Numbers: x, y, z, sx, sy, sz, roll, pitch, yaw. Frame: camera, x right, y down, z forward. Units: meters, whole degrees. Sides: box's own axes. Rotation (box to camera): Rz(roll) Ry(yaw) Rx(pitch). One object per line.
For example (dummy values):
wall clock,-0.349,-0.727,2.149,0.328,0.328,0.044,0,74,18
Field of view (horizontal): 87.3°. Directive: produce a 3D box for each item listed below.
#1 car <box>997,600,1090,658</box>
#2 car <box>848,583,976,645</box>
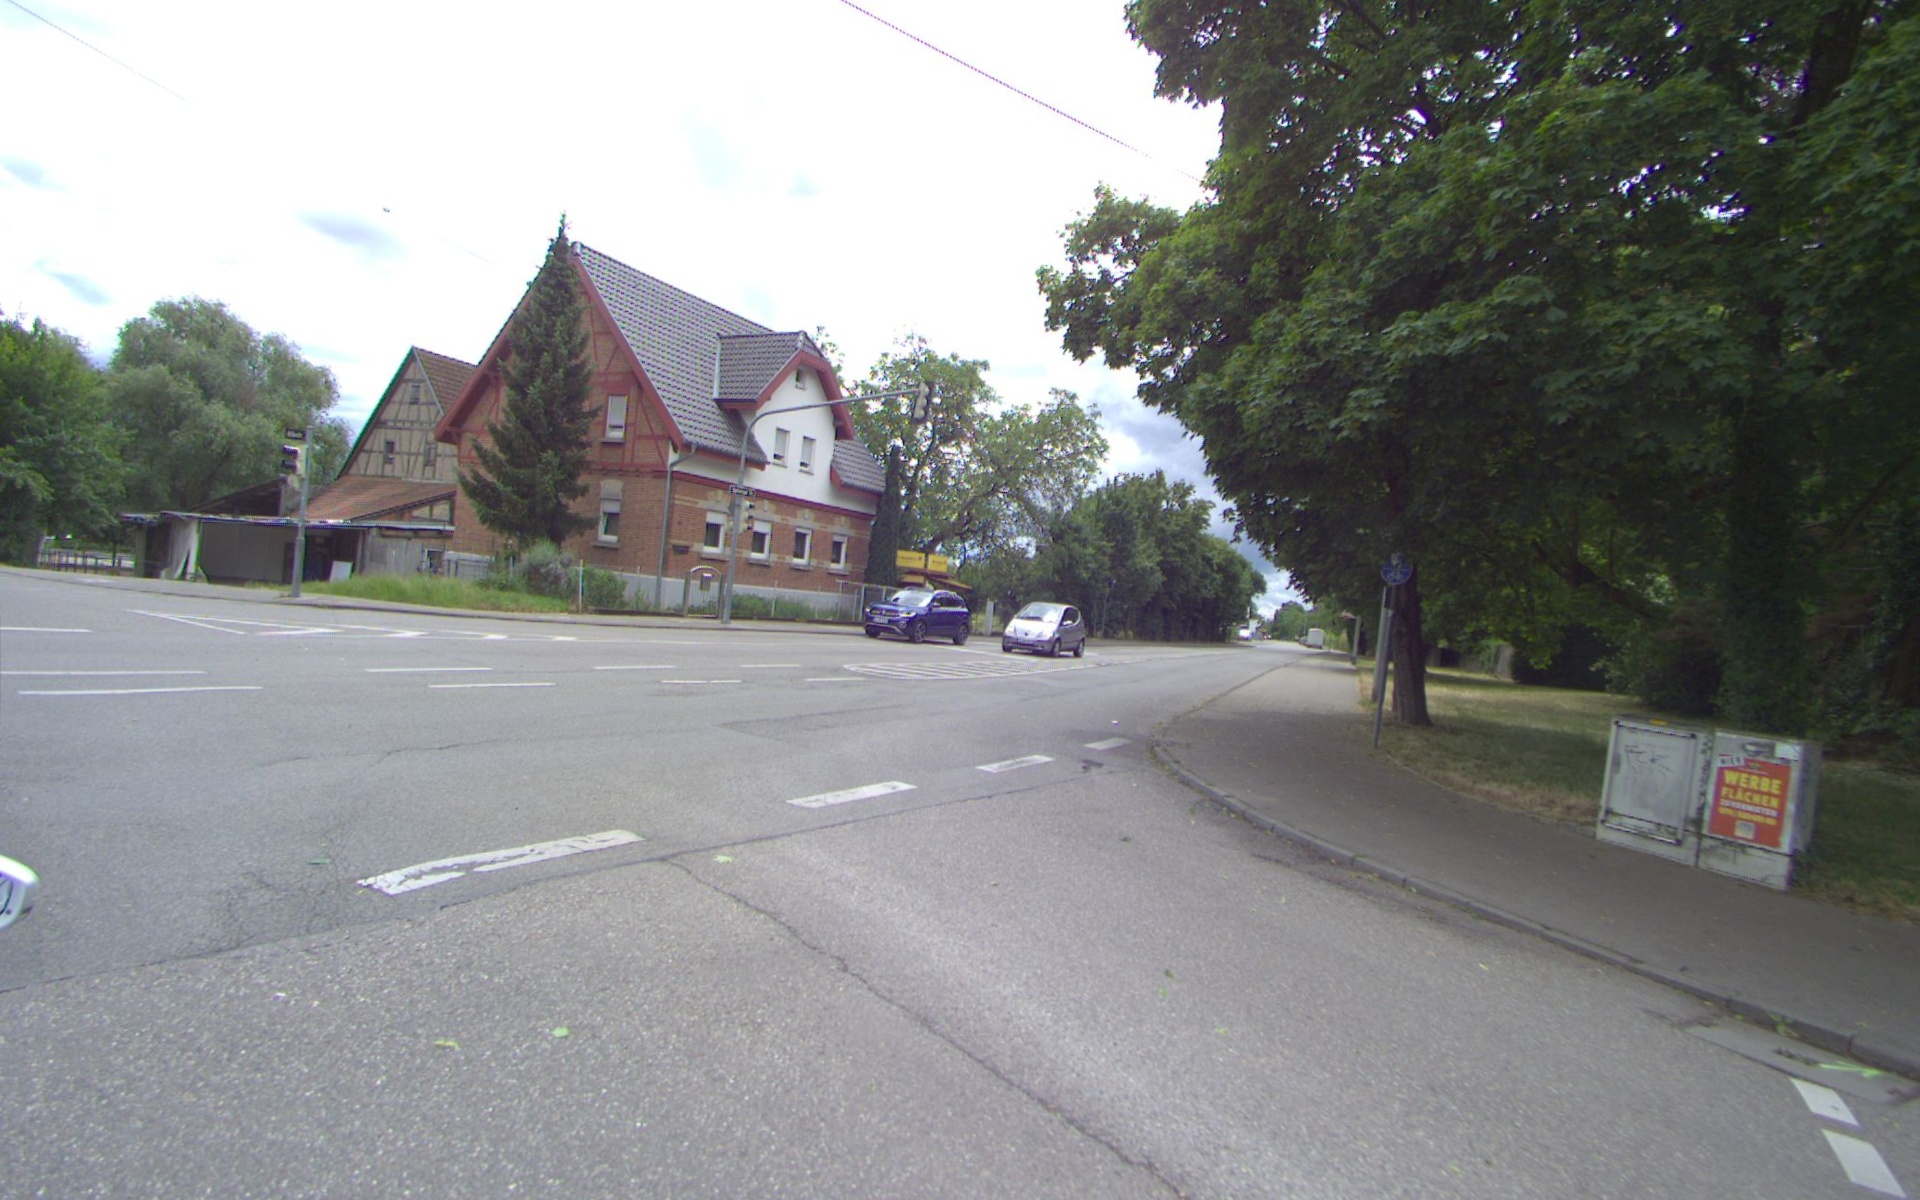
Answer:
car,2.611,0.891,30.593,1.748,1.538,3.555,5,0,22
car,-1.334,0.452,29.683,1.894,1.538,3.992,6,0,28
